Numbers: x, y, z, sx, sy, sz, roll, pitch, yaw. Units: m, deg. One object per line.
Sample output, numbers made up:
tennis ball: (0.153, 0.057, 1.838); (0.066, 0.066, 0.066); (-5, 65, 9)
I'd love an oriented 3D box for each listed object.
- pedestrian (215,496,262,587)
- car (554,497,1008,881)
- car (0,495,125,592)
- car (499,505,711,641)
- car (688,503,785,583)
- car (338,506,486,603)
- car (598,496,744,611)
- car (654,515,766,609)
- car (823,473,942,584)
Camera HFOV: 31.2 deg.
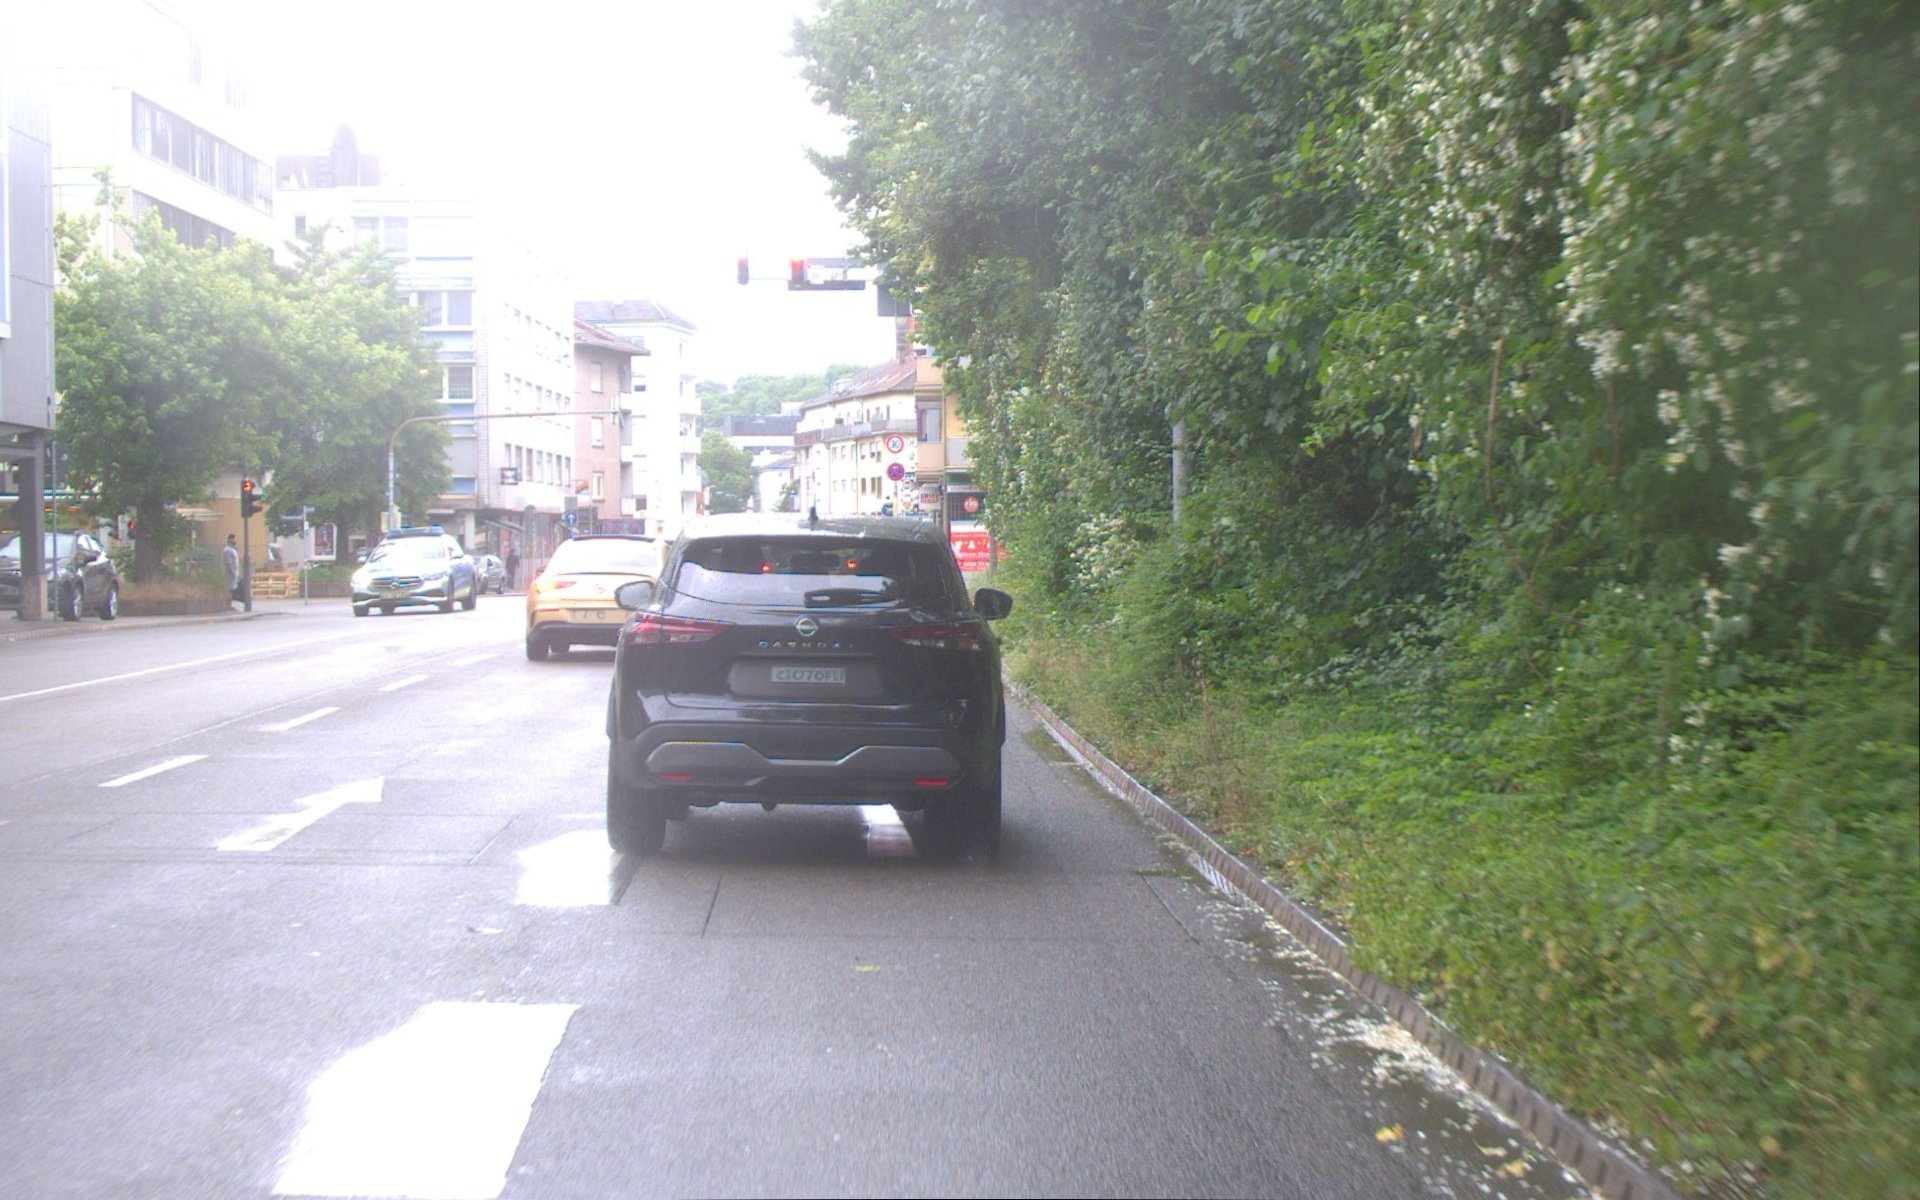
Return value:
pedestrian: (-16.297, -1.320, 77.714); (0.940, 2.007, 0.887); (-2, 1, -10)
car: (-0.855, 0.327, 16.973); (1.959, 1.647, 4.001); (-1, 2, -2)
car: (-16.455, -1.047, 62.532); (1.539, 1.700, 4.288); (0, 1, -1)
car: (-4.098, -0.363, 40.393); (2.066, 1.459, 4.587); (0, 2, -1)
car: (-4.177, -1.101, 64.661); (1.767, 1.439, 4.001); (0, 2, -3)
car: (-10.453, -0.900, 65.918); (1.993, 1.744, 4.808); (-1, 1, 1)
car: (-3.937, -0.668, 47.408); (1.743, 1.482, 4.162); (-1, 2, -1)
car: (-3.926, -0.633, 54.445); (1.613, 1.415, 3.967); (0, 2, -2)
car: (-1.418, -1.370, 64.600); (1.993, 2.006, 4.000); (0, 2, 2)
